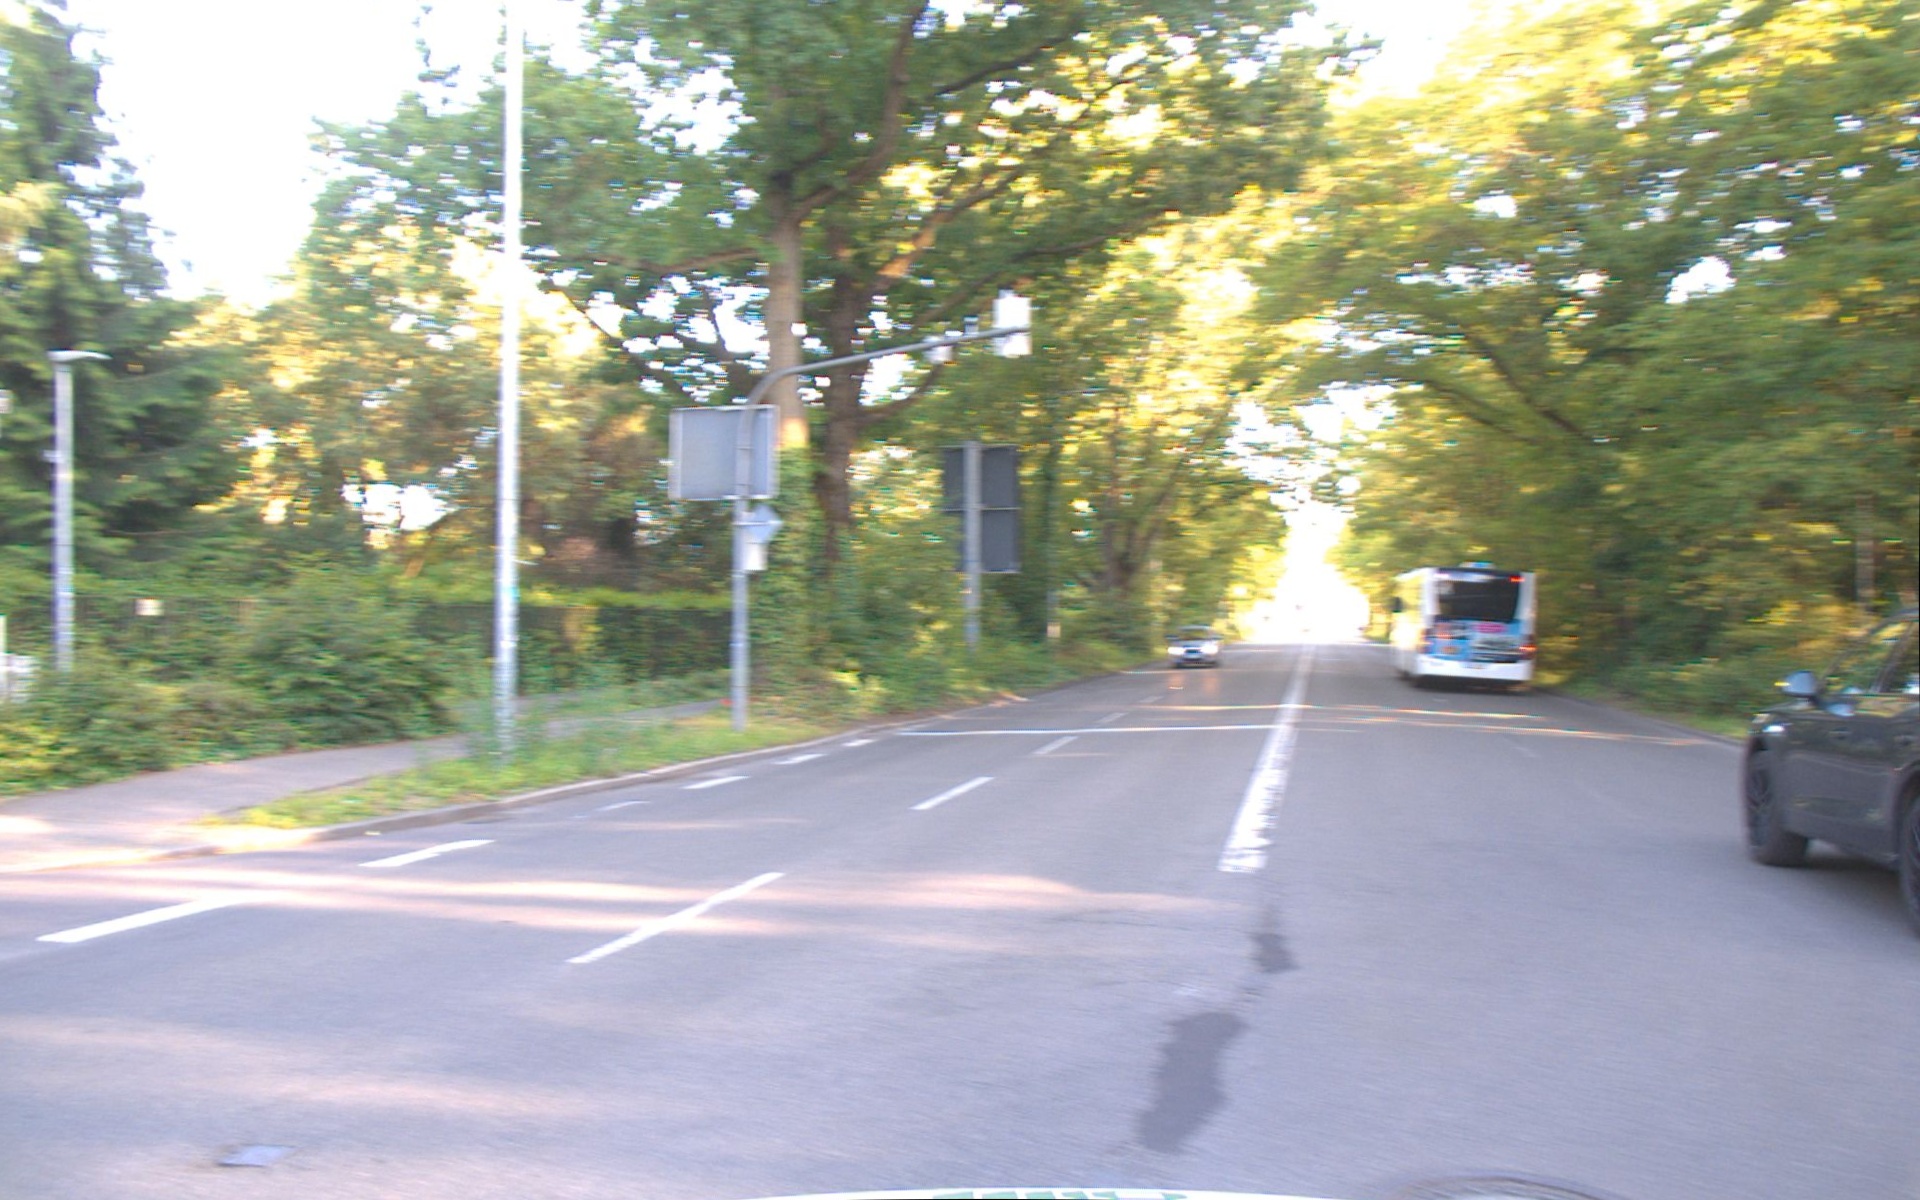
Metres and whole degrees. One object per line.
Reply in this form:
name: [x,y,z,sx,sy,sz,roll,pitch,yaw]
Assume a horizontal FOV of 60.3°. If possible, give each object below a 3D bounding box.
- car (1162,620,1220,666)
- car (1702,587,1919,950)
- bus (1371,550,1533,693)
car: [8.571,1.566,61.192,1.768,1.607,4.322,-2,-1,12]
car: [5.679,0.831,9.096,1.946,1.635,4.366,3,0,12]
bus: [12.757,0.563,43.940,2.948,3.141,12.280,2,0,12]
